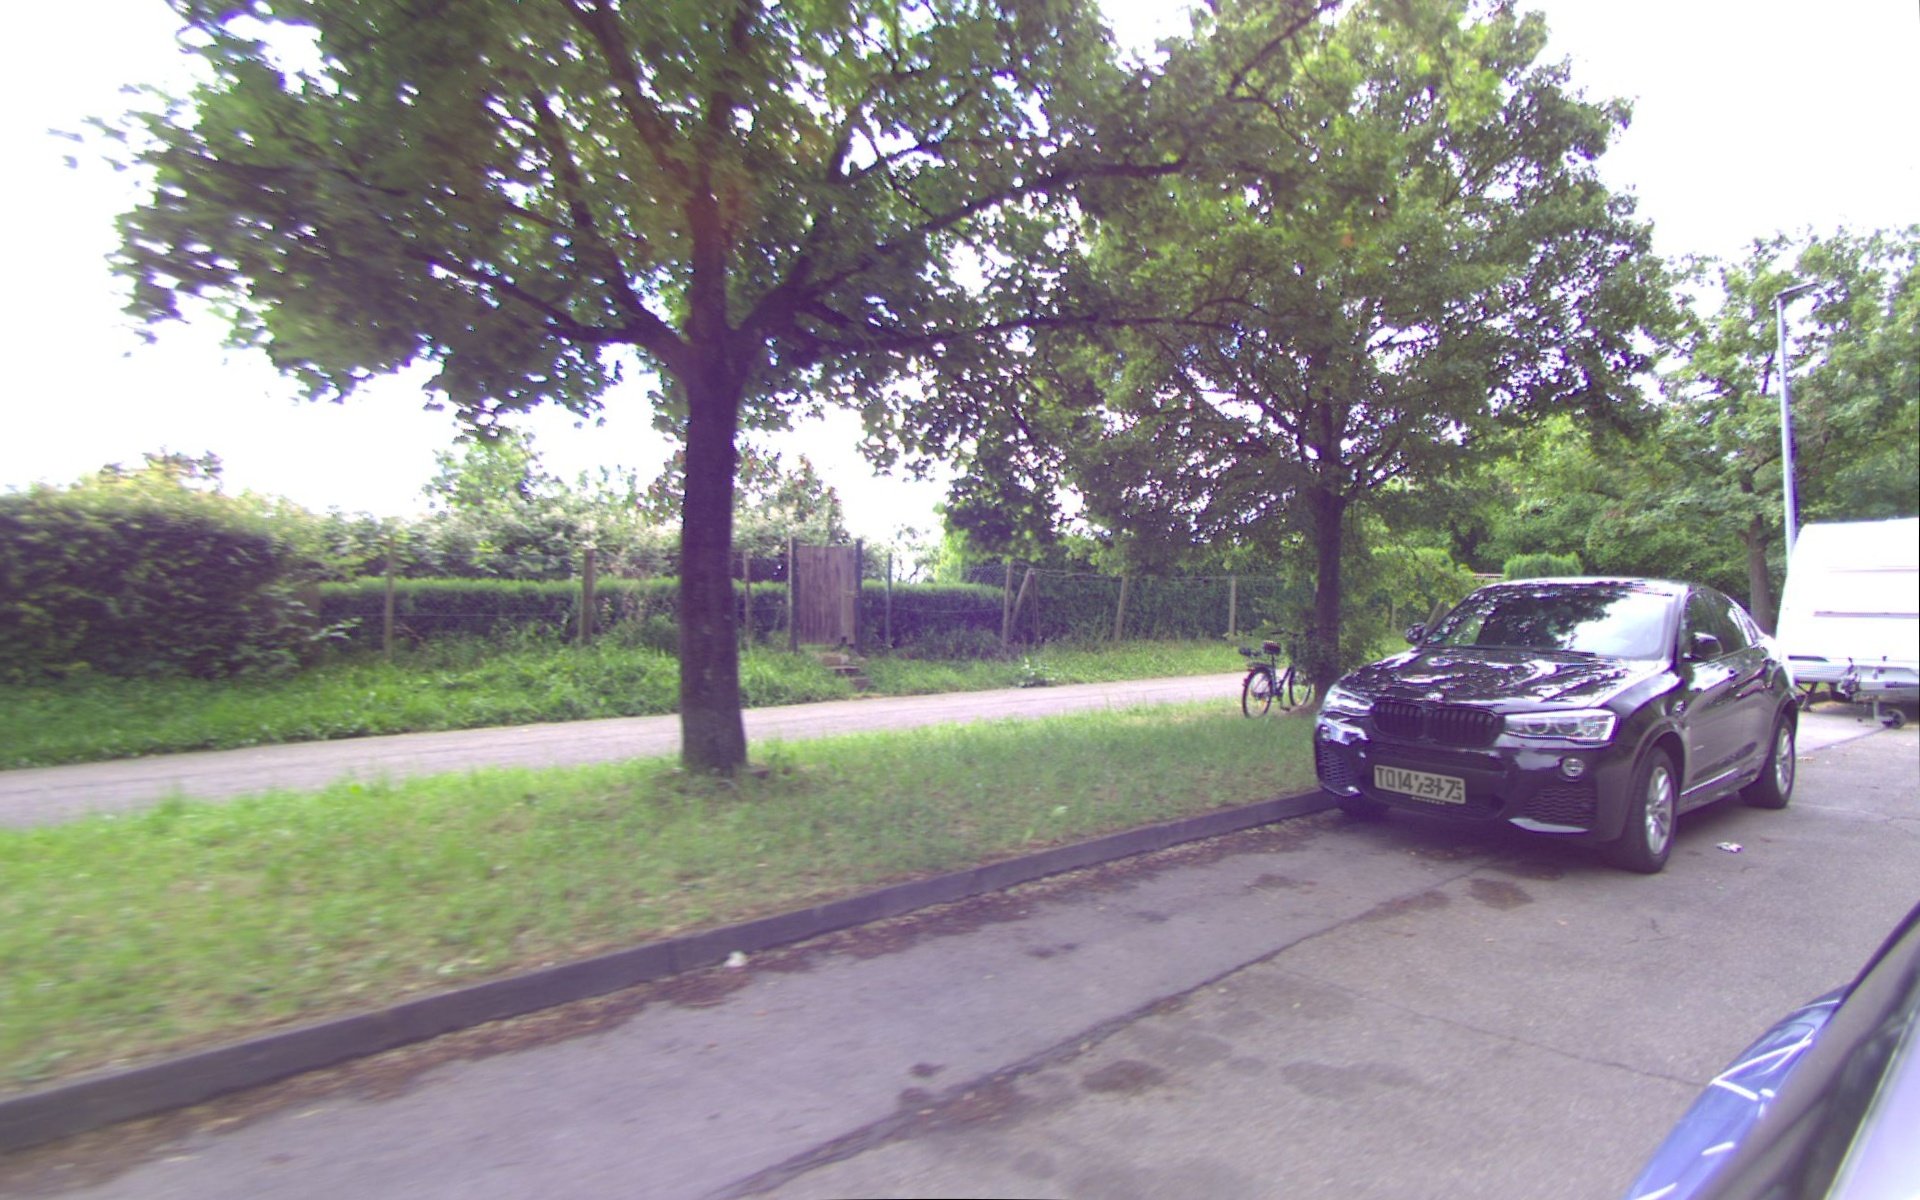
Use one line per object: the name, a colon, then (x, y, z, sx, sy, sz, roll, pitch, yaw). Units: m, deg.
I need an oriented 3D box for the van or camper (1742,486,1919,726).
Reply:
van or camper: (12.417, 0.029, 12.893, 5.917, 2.568, 2.168, -1, -1, -35)

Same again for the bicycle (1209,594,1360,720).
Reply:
bicycle: (3.718, 0.599, 11.496, 2.147, 1.230, 0.535, -3, 0, -40)

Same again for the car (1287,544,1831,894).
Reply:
car: (4.312, 0.547, 6.969, 4.450, 1.663, 1.852, 0, 0, -40)
